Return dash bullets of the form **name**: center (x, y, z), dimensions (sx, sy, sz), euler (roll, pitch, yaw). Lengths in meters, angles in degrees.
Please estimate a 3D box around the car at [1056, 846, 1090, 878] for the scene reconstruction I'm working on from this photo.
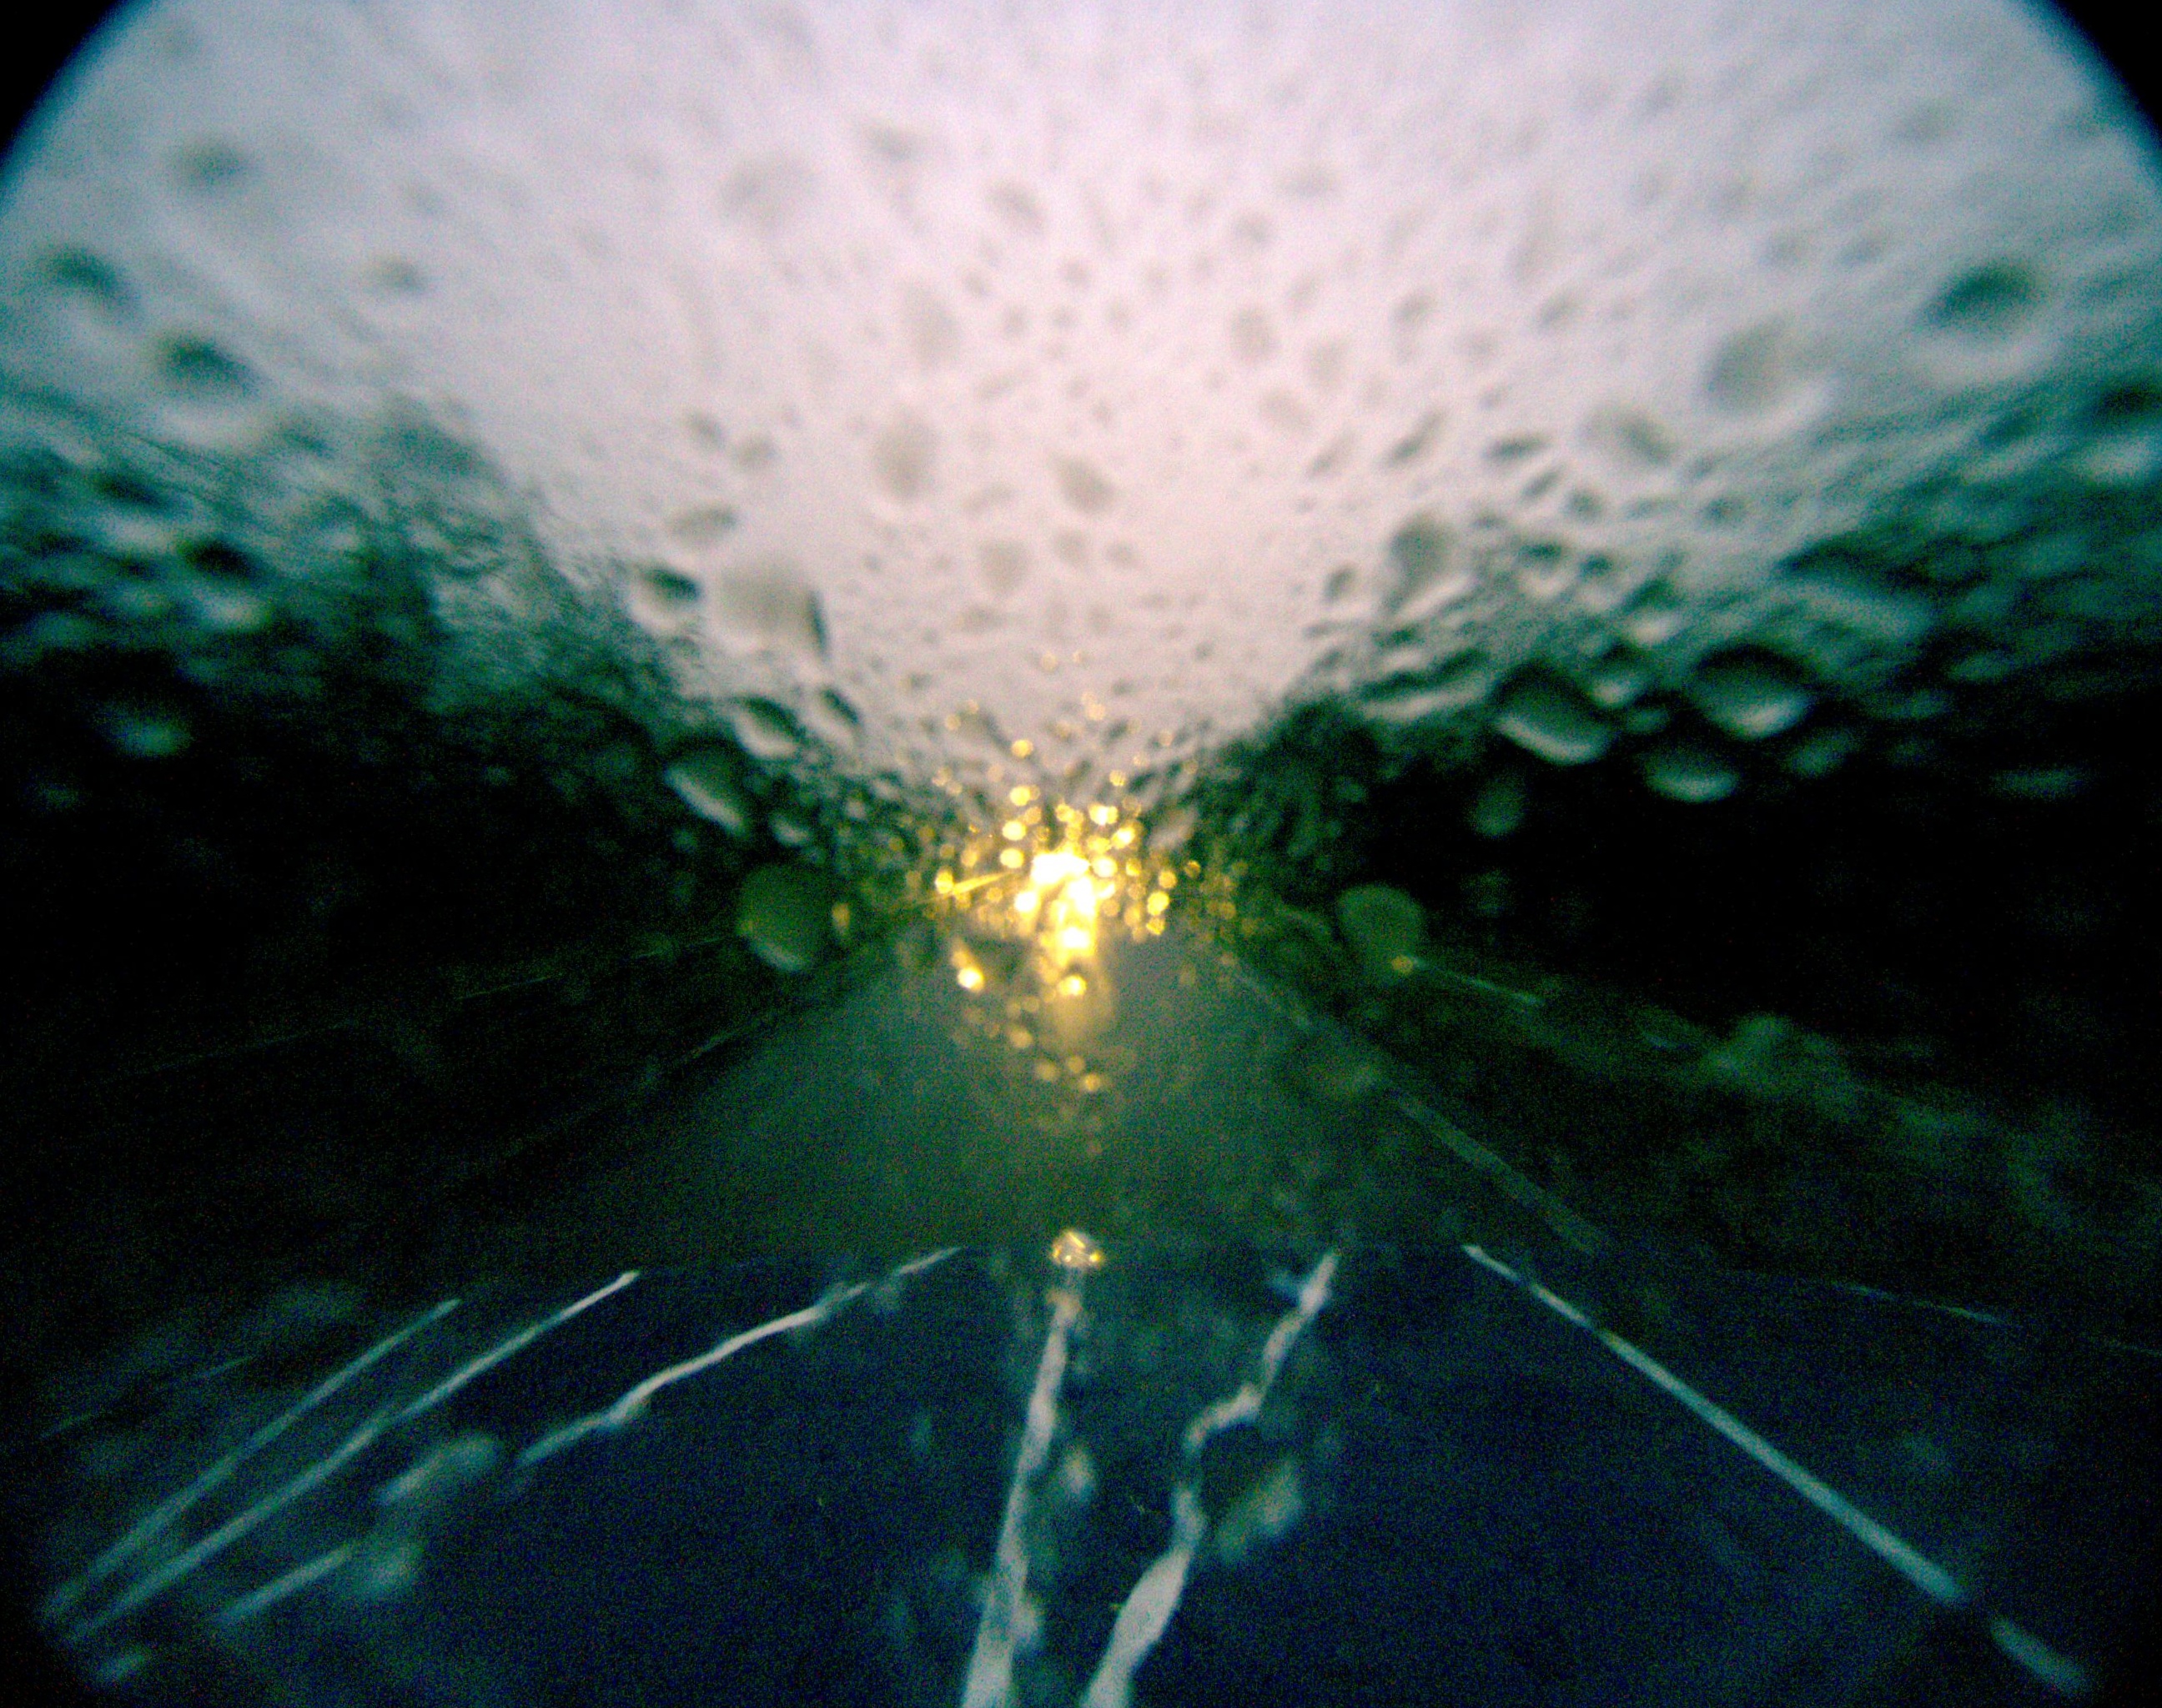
- **car**: center (-0.479, 0.551, 49.306), dimensions (1.998, 2.001, 3.965), euler (0, -1, 2)

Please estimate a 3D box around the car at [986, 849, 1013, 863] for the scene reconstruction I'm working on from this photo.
- **car**: center (-12.310, 0.295, 114.282), dimensions (2.004, 2.002, 4.218), euler (-2, 1, -39)

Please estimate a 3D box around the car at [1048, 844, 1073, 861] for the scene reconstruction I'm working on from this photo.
- **car**: center (-2.553, -0.229, 93.141), dimensions (2.001, 2.002, 4.223), euler (-2, 1, -17)
